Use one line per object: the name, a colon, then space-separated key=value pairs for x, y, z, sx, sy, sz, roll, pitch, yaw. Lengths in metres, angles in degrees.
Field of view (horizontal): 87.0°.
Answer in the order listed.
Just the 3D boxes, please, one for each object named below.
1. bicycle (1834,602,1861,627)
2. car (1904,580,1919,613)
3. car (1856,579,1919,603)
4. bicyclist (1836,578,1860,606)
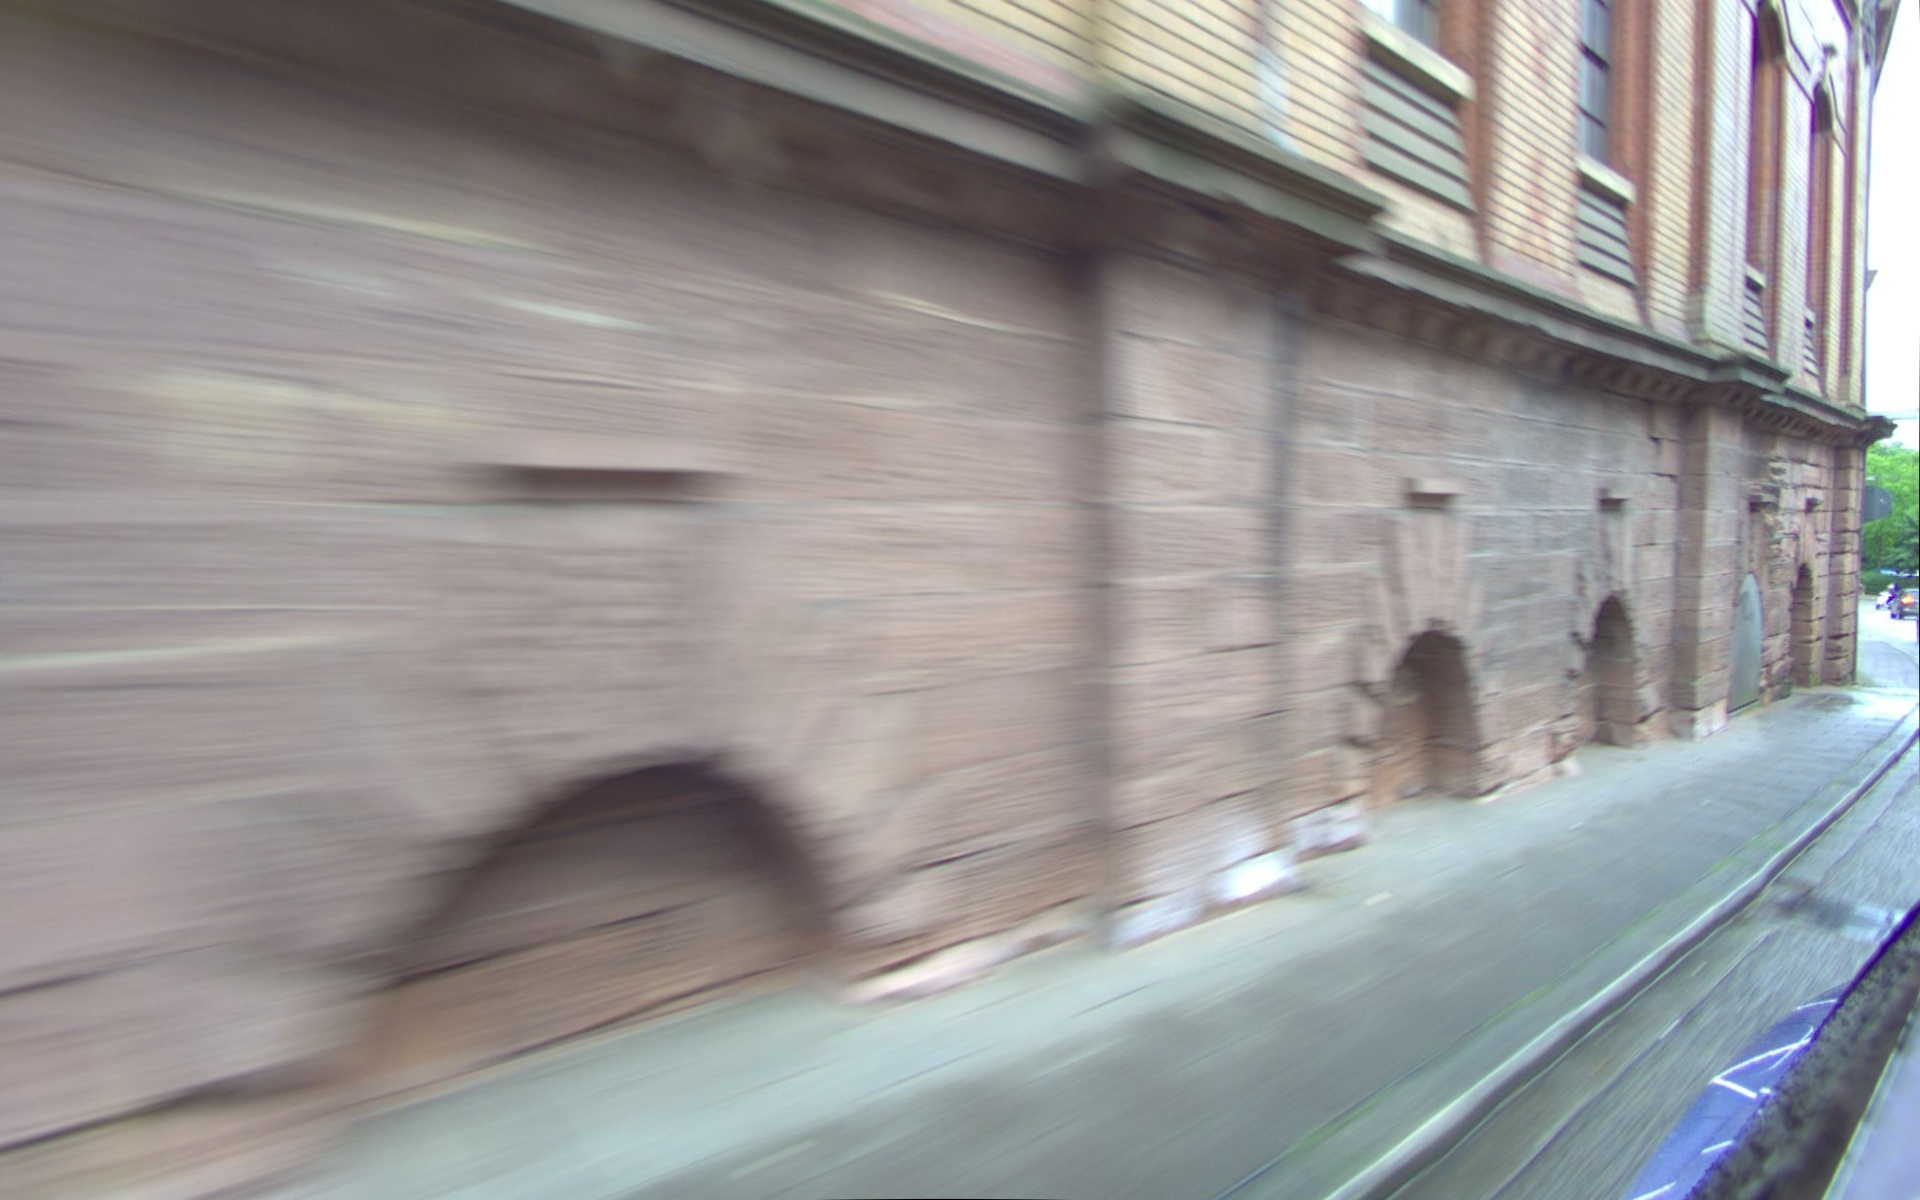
bicycle: x=47.957 y=0.771 z=54.690 sx=0.883 sy=1.202 sz=2.106 roll=1 pitch=2 yaw=36
car: x=50.800 y=-0.186 z=52.936 sx=1.762 sy=1.678 sz=3.930 roll=3 pitch=3 yaw=40
car: x=62.357 y=-0.620 z=67.203 sx=3.928 sy=1.529 sz=1.798 roll=1 pitch=1 yaw=4
bicyclist: x=47.983 y=-0.445 z=54.699 sx=0.883 sy=1.508 sz=0.956 roll=1 pitch=2 yaw=37
